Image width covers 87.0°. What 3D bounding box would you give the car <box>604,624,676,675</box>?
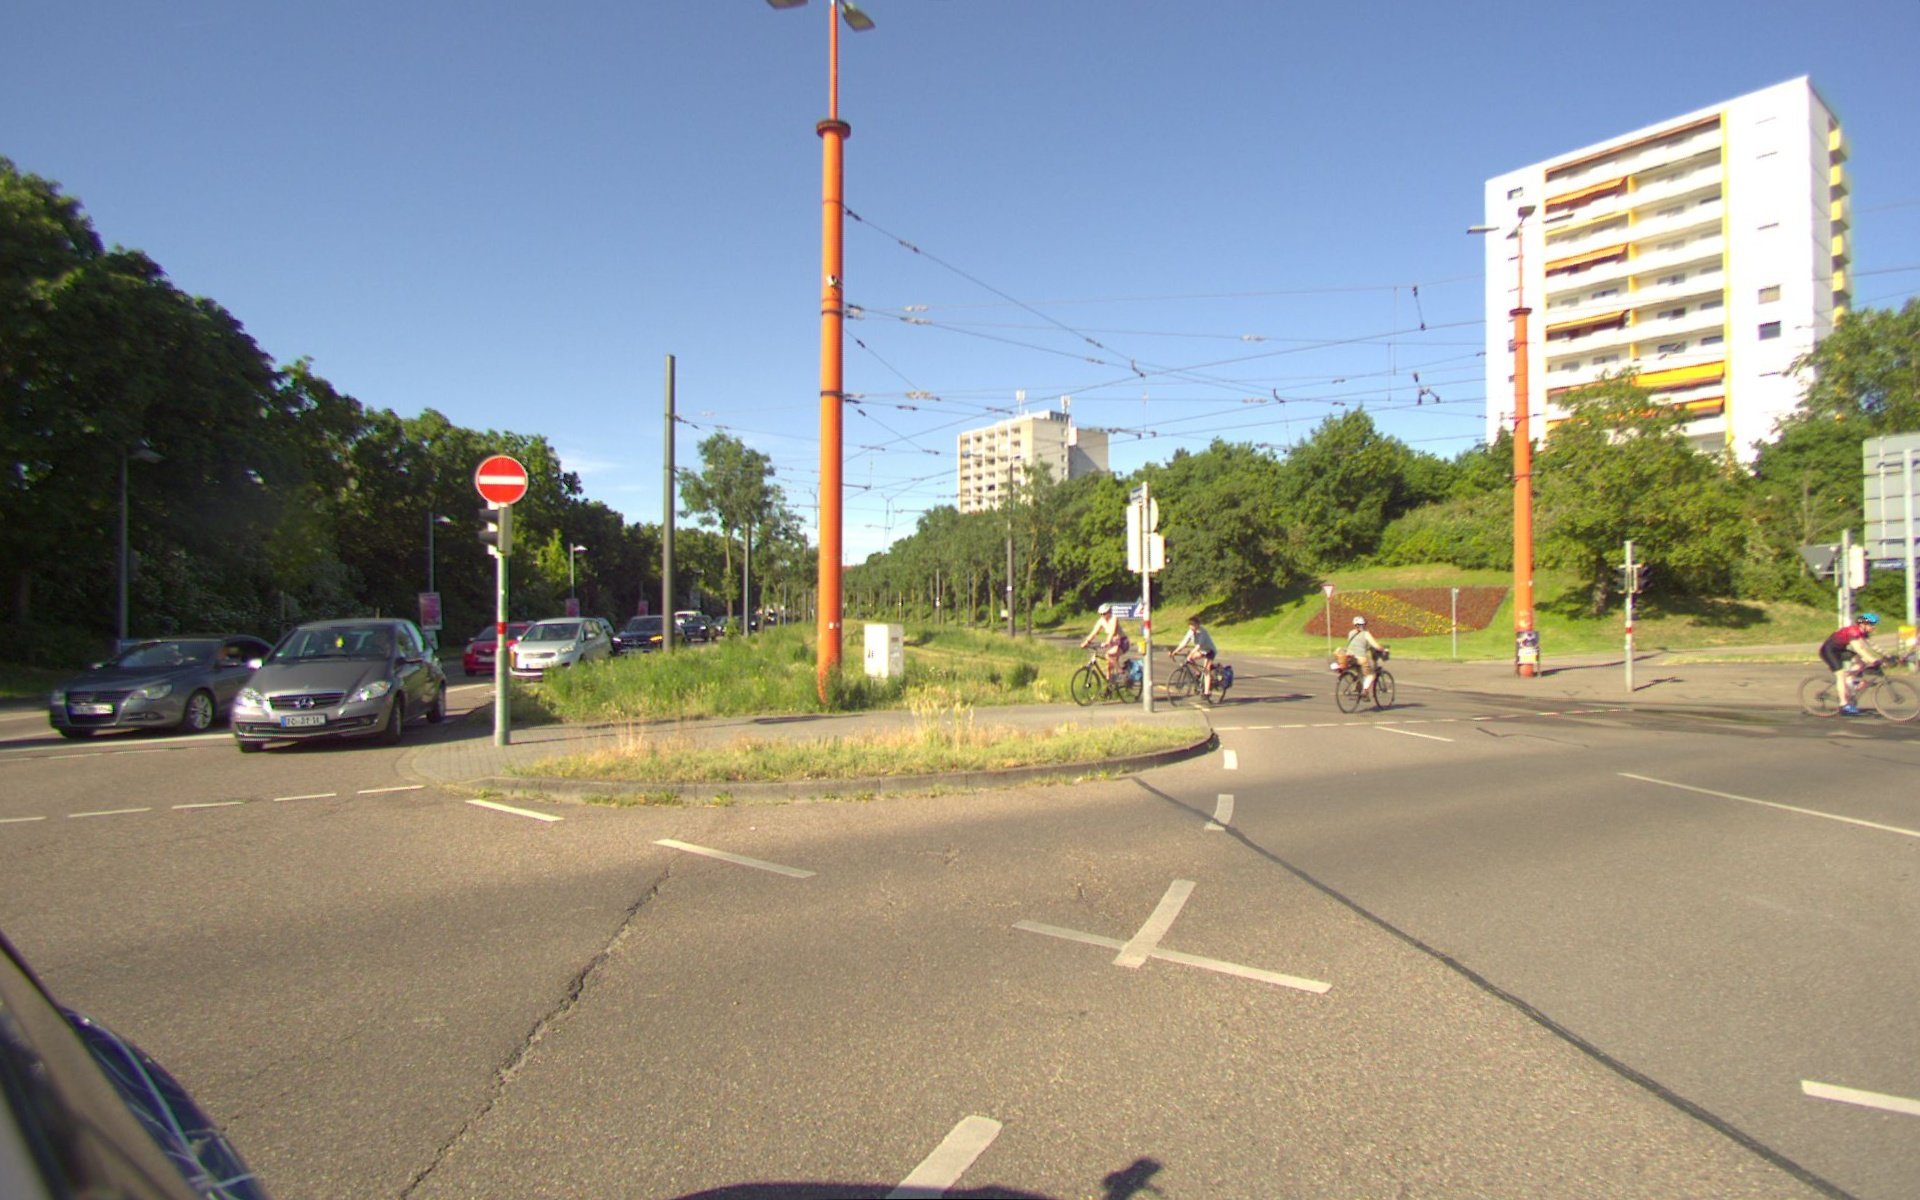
[{"bbox_3d":[-11.248,1.686,35.816,1.723,1.674,4.006,-1,-1,-7],"label":"car"}]

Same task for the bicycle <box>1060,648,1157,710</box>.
[{"bbox_3d":[2.767,1.439,18.780,1.884,1.080,0.581,1,-2,-34],"label":"bicycle"}]

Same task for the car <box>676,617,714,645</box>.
[{"bbox_3d":[-16.705,1.930,63.876,1.723,1.674,4.006,-2,-1,-7],"label":"car"}]

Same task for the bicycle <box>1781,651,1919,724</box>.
[{"bbox_3d":[14.931,1.418,16.763,0.680,1.079,1.922,-1,-1,-29],"label":"bicycle"}]

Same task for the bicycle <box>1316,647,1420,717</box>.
[{"bbox_3d":[7.129,1.407,17.653,1.884,1.139,0.742,2,-2,-34],"label":"bicycle"}]

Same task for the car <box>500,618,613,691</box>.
[{"bbox_3d":[-10.395,1.332,26.333,1.723,1.674,4.006,-2,-1,-7],"label":"car"}]

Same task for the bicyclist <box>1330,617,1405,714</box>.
[{"bbox_3d":[7.078,1.118,17.611,0.813,1.634,0.895,2,-3,-34],"label":"bicyclist"}]

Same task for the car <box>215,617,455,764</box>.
[{"bbox_3d":[-8.227,1.069,13.739,1.720,1.652,4.011,0,-1,-15],"label":"car"}]

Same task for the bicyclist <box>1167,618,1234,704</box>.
[{"bbox_3d":[4.474,1.118,18.850,0.908,1.536,0.723,-1,-1,-28],"label":"bicyclist"}]

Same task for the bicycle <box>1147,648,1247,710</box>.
[{"bbox_3d":[4.416,1.452,18.819,1.883,1.080,0.581,1,-2,-28],"label":"bicycle"}]

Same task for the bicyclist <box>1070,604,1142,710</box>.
[{"bbox_3d":[2.703,1.029,18.800,0.908,1.881,0.895,-1,-1,-33],"label":"bicyclist"}]

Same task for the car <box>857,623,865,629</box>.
[{"bbox_3d":[-21.486,5.644,219.965,1.554,1.431,3.914,-2,-1,-6],"label":"car"}]

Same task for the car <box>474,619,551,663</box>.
[{"bbox_3d":[-17.907,1.606,40.674,1.723,1.674,4.006,0,-1,-7],"label":"car"}]

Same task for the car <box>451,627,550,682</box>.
[{"bbox_3d":[-13.757,1.597,30.507,1.660,1.456,3.733,-2,-1,-7],"label":"car"}]

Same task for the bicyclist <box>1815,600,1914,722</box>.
[{"bbox_3d":[14.938,0.989,16.732,0.675,1.927,0.994,-1,-1,-30],"label":"bicyclist"}]

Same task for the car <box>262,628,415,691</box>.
[{"bbox_3d":[-16.404,1.515,26.981,1.723,1.447,4.392,-1,-1,-6],"label":"car"}]

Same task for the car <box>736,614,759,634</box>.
[{"bbox_3d":[-18.968,2.123,90.474,1.669,1.674,3.833,-2,-1,-7],"label":"car"}]

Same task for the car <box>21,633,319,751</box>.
[{"bbox_3d":[-11.836,1.284,15.565,1.688,1.449,4.177,-1,-1,-6],"label":"car"}]

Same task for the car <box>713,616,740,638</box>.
[{"bbox_3d":[-18.020,2.045,78.115,1.606,1.576,3.818,-2,-1,-7],"label":"car"}]
